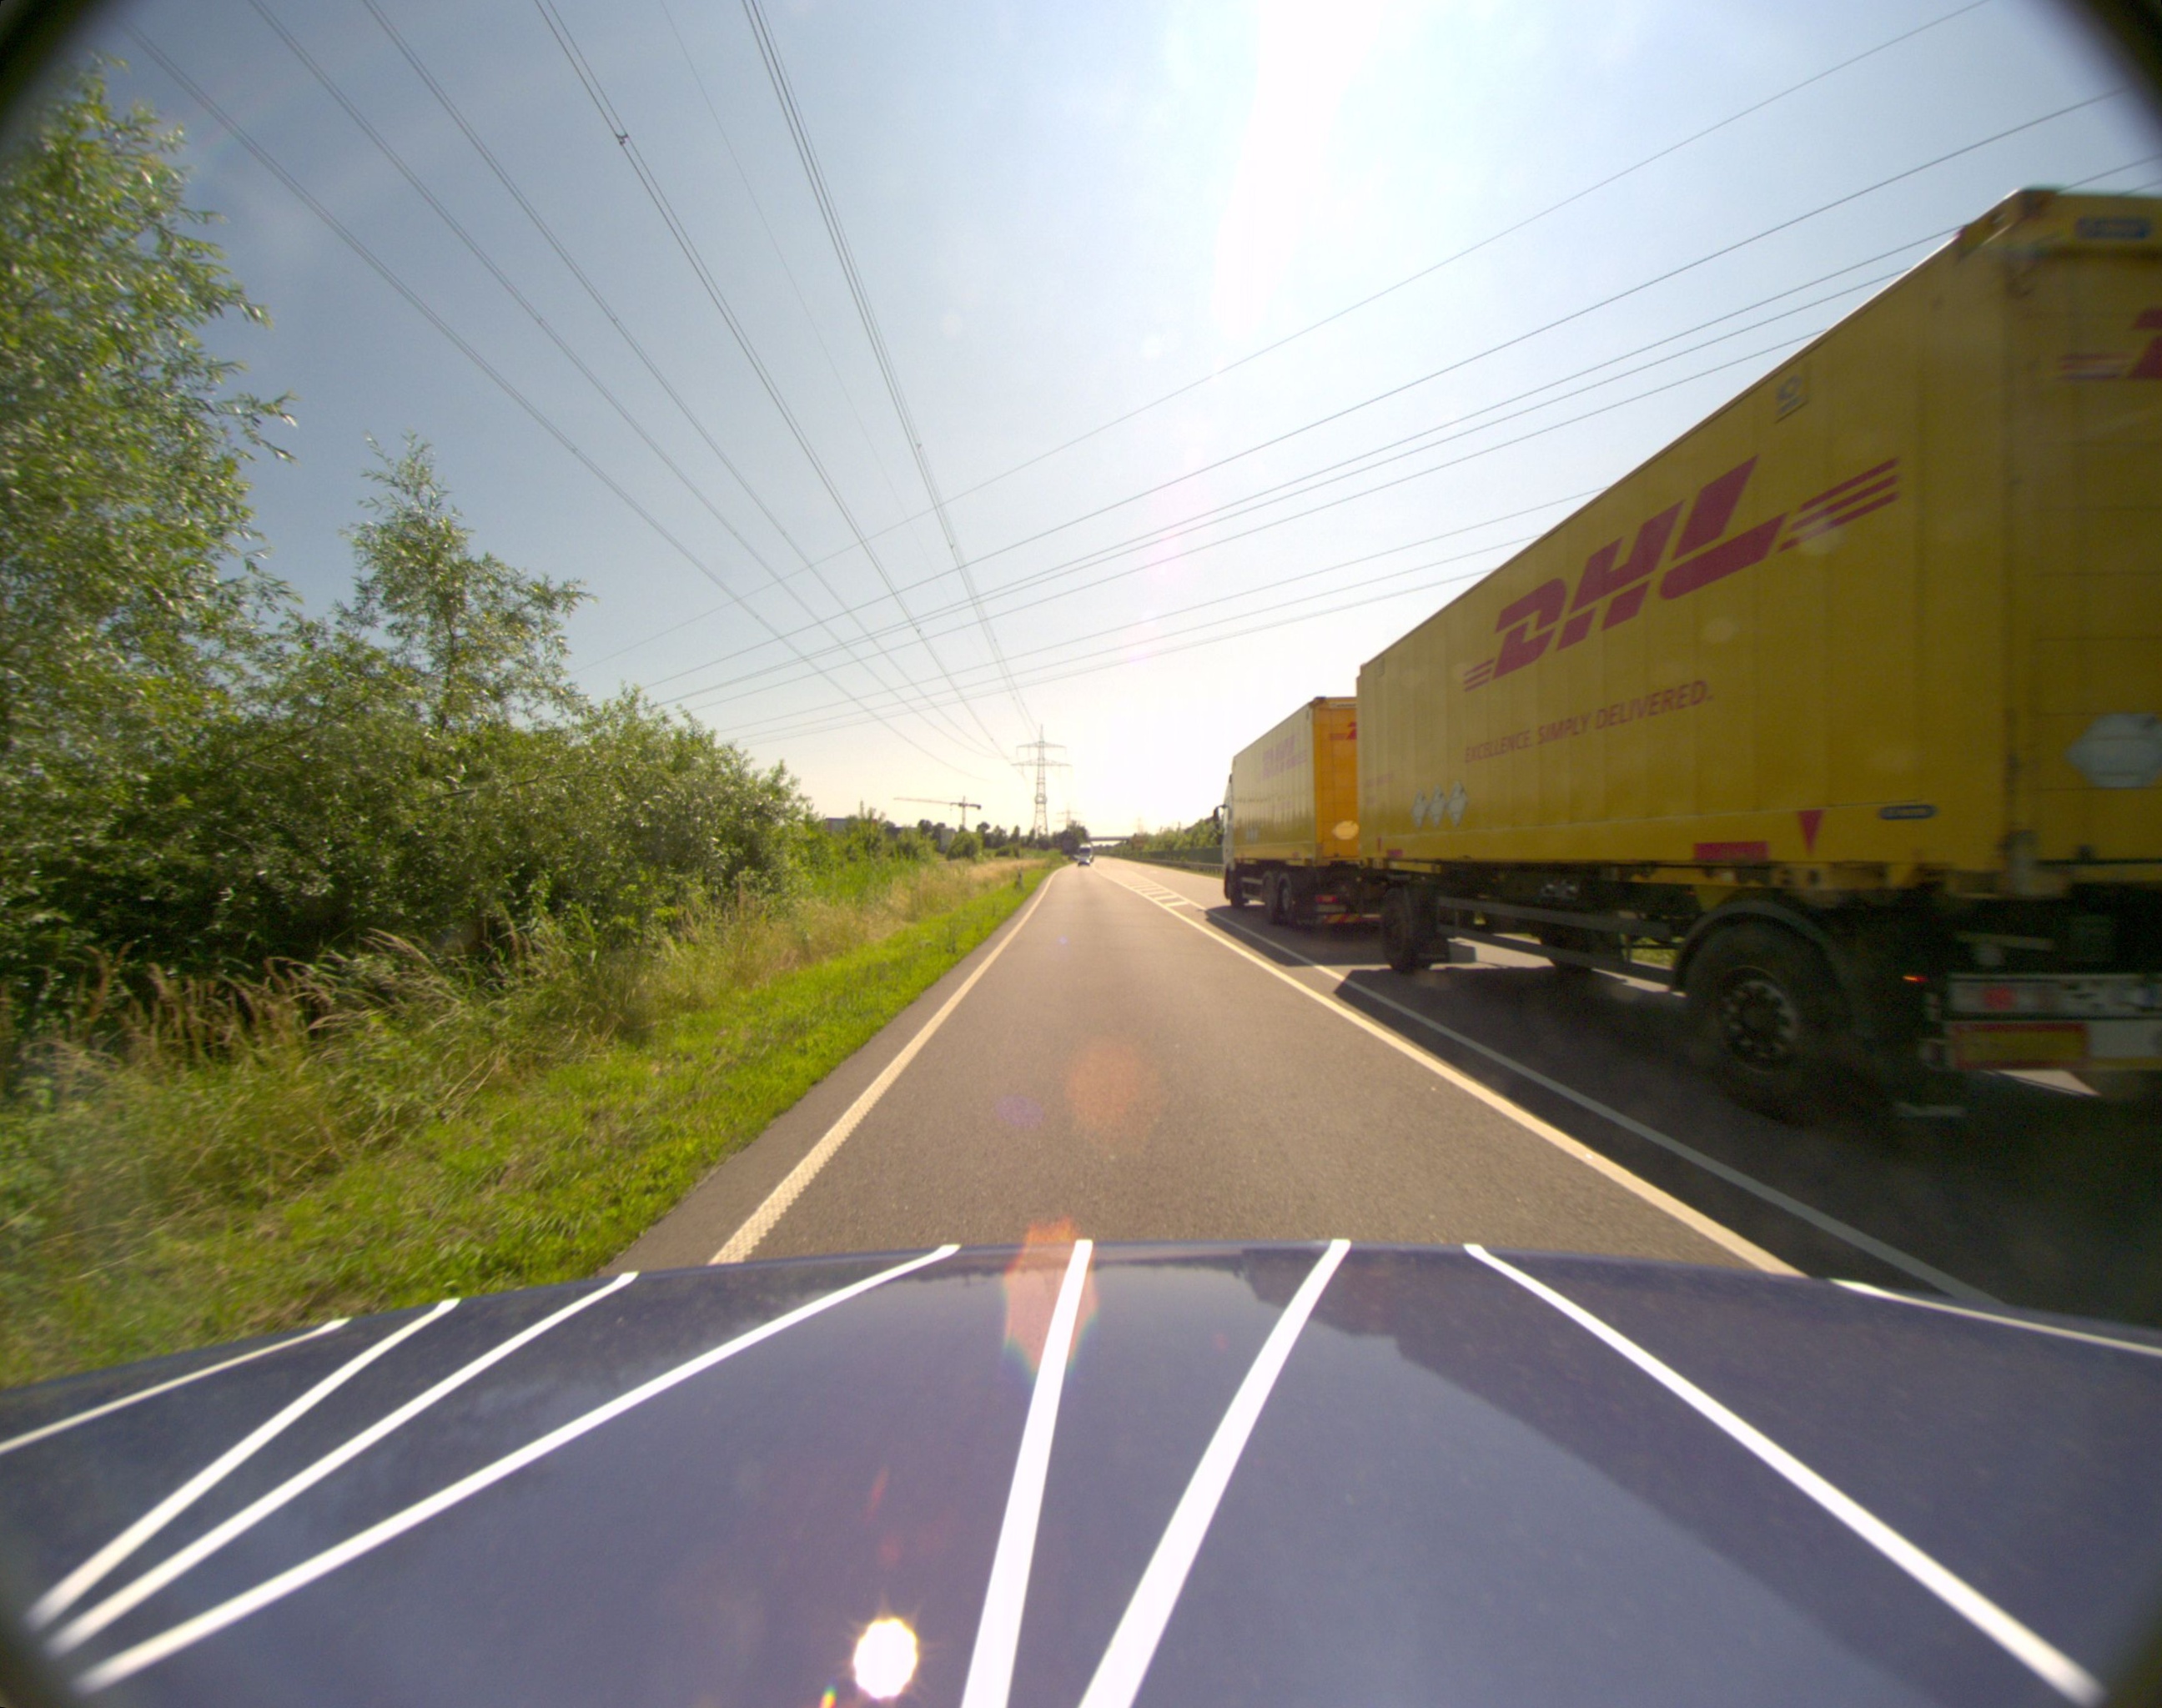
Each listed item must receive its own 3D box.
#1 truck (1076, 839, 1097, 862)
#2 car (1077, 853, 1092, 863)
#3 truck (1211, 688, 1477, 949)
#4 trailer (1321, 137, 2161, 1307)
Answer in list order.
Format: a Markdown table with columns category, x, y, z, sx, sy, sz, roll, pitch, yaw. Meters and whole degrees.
| category | x | y | z | sx | sy | sz | roll | pitch | yaw |
| --- | --- | --- | --- | --- | --- | --- | --- | --- | --- |
| truck | 1.200 | -0.755 | 166.943 | 4.219 | 4.608 | 21.303 | -2 | 0 | 1 |
| car | 0.527 | 0.550 | 104.851 | 1.998 | 1.346 | 4.157 | -2 | 1 | 1 |
| truck | 5.097 | -0.583 | 17.390 | 2.554 | 4.104 | 10.604 | -1 | 0 | 1 |
| trailer | 4.908 | -0.487 | 7.266 | 2.554 | 4.120 | 9.229 | -1 | 0 | 2 |
